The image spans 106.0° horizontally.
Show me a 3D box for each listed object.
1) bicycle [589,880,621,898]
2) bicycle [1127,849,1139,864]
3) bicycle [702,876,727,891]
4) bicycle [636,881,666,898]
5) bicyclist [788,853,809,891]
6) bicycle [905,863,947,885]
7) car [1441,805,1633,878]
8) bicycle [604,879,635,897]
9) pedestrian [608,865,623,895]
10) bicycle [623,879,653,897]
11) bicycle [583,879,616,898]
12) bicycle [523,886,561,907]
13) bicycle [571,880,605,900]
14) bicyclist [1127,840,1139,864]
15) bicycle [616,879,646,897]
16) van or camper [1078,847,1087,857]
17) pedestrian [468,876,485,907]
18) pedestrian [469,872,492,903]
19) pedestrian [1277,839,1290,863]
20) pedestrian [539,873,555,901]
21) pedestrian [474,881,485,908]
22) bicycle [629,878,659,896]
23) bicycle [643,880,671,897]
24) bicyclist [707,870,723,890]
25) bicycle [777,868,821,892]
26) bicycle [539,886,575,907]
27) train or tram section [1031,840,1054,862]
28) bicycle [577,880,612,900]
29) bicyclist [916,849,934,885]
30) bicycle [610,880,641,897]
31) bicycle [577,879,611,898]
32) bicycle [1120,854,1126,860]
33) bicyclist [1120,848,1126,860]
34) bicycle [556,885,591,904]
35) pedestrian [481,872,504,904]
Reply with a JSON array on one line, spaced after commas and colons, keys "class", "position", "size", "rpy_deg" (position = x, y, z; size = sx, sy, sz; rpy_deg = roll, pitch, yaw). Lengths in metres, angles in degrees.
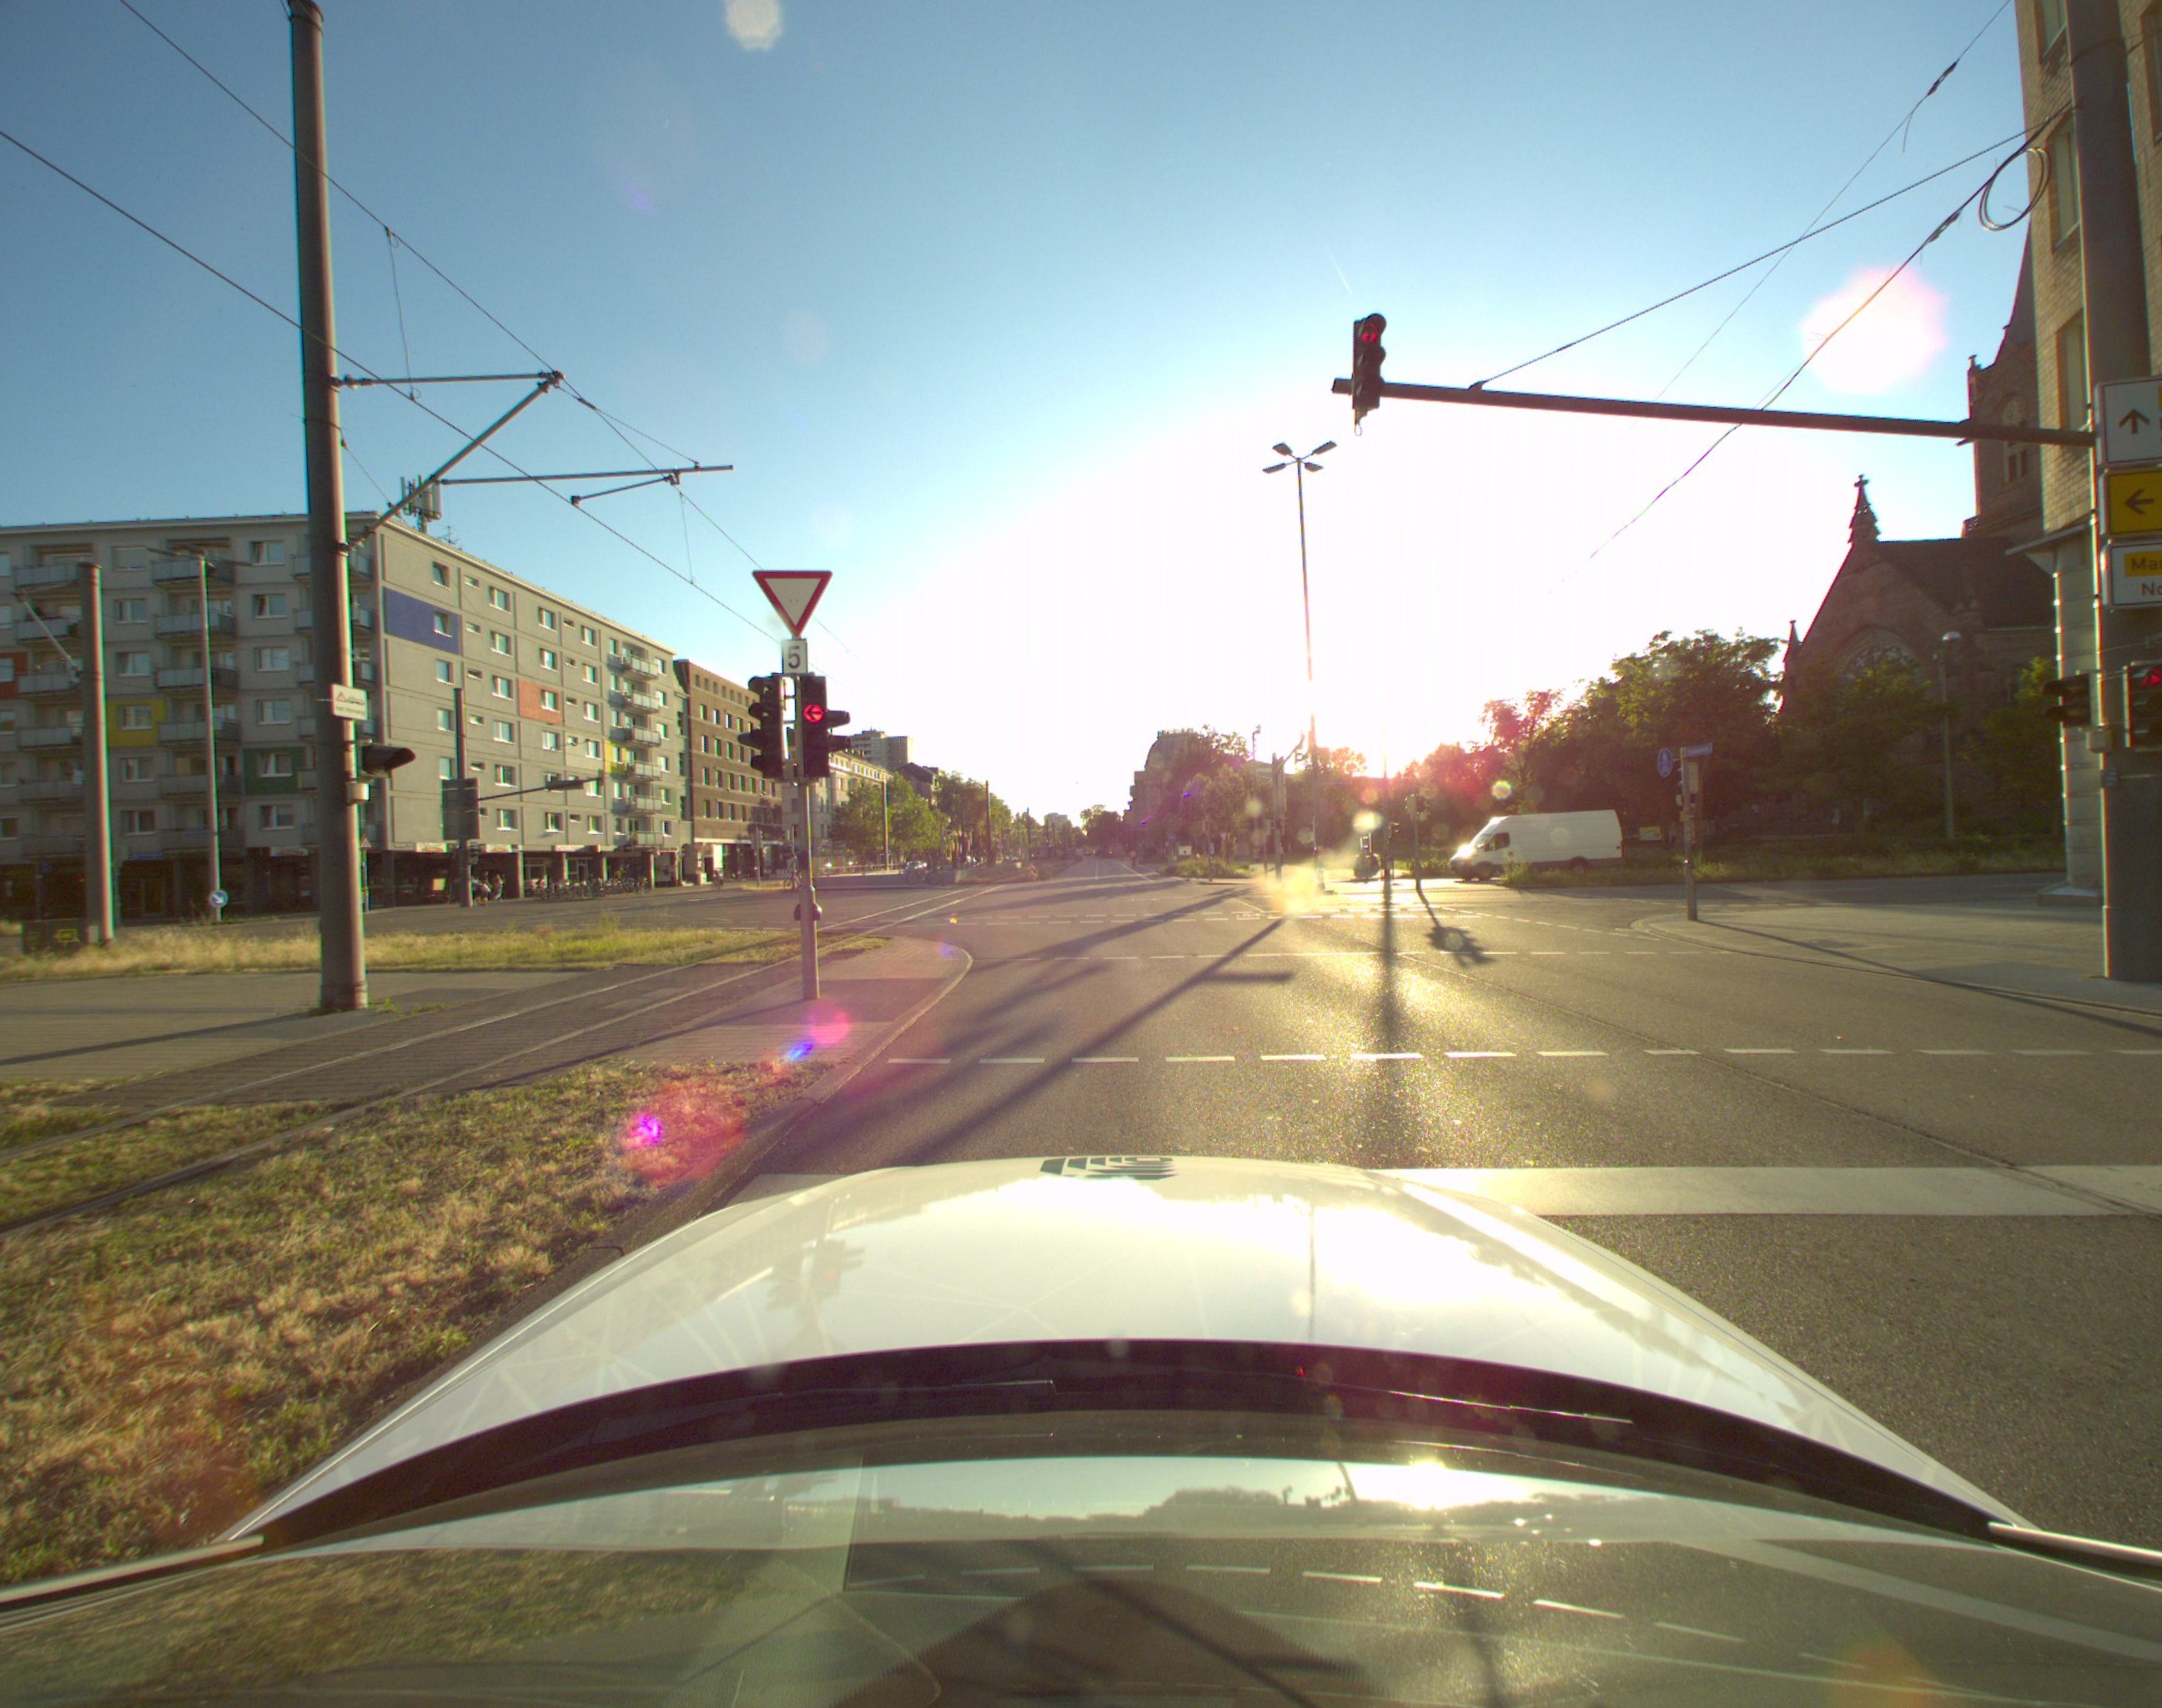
[{"class": "bicycle", "position": [-31.806, 2.323, 54.422], "size": [1.764, 1.136, 0.606], "rpy_deg": [-2, 0, 2]}, {"class": "bicycle", "position": [5.025, 0.233, 78.811], "size": [1.094, 1.399, 2.833], "rpy_deg": [-2, 0, 2]}, {"class": "bicycle", "position": [-26.426, 2.135, 58.746], "size": [0.503, 0.944, 1.678], "rpy_deg": [-2, 0, 28]}, {"class": "bicycle", "position": [-30.849, 2.540, 58.415], "size": [1.683, 1.170, 0.749], "rpy_deg": [-2, 0, 3]}, {"class": "bicyclist", "position": [-13.850, 0.886, 39.947], "size": [0.793, 1.818, 0.644], "rpy_deg": [-2, 0, -11]}, {"class": "bicycle", "position": [-8.178, 1.054, 42.952], "size": [2.167, 1.083, 0.536], "rpy_deg": [-1, -1, -15]}, {"class": "car", "position": [19.562, -0.528, 35.200], "size": [6.981, 2.827, 2.095], "rpy_deg": [-2, 0, 3]}, {"class": "bicycle", "position": [-31.134, 2.312, 54.979], "size": [1.748, 1.117, 0.552], "rpy_deg": [-2, 0, 2]}, {"class": "pedestrian", "position": [-34.711, 1.930, 60.695], "size": [0.599, 2.178, 0.792], "rpy_deg": [-2, 0, 1]}, {"class": "bicycle", "position": [-30.971, 2.373, 56.885], "size": [1.683, 1.153, 0.706], "rpy_deg": [-2, 0, 3]}, {"class": "bicycle", "position": [-31.791, 2.267, 53.753], "size": [1.769, 1.159, 0.606], "rpy_deg": [-2, 0, 1]}, {"class": "bicycle", "position": [-32.285, 2.543, 48.805], "size": [1.788, 1.208, 0.638], "rpy_deg": [-2, 0, 0]}, {"class": "bicycle", "position": [-31.257, 2.295, 51.661], "size": [1.762, 1.182, 0.568], "rpy_deg": [-2, 0, 1]}, {"class": "bicyclist", "position": [5.009, -0.195, 78.743], "size": [1.078, 2.276, 0.986], "rpy_deg": [-2, 0, 1]}, {"class": "bicycle", "position": [-31.038, 2.335, 56.198], "size": [1.719, 1.124, 0.634], "rpy_deg": [-2, -1, 3]}, {"class": "van or camper", "position": [0.403, -0.477, 231.874], "size": [2.441, 2.770, 5.600], "rpy_deg": [-2, 0, 0]}, {"class": "pedestrian", "position": [-32.412, 2.014, 43.669], "size": [0.575, 1.620, 0.598], "rpy_deg": [-2, 0, -29]}, {"class": "pedestrian", "position": [-36.044, 2.003, 48.914], "size": [0.826, 1.812, 0.718], "rpy_deg": [-2, 0, -9]}, {"class": "pedestrian", "position": [15.294, -0.221, 61.554], "size": [0.826, 1.803, 0.814], "rpy_deg": [-2, 0, 17]}, {"class": "pedestrian", "position": [-33.188, 2.035, 50.597], "size": [0.578, 1.684, 0.546], "rpy_deg": [-2, 0, -5]}, {"class": "pedestrian", "position": [-32.638, 2.193, 44.183], "size": [0.383, 1.383, 0.392], "rpy_deg": [-2, 0, -26]}, {"class": "bicycle", "position": [-30.921, 2.361, 57.642], "size": [1.683, 1.179, 0.749], "rpy_deg": [-2, 0, 3]}, {"class": "bicycle", "position": [-30.787, 2.496, 59.146], "size": [1.683, 1.144, 0.697], "rpy_deg": [-2, 0, 3]}, {"class": "bicyclist", "position": [-26.422, 1.858, 58.775], "size": [0.494, 1.426, 0.863], "rpy_deg": [-2, 0, 28]}, {"class": "bicycle", "position": [-13.820, 1.278, 39.960], "size": [1.902, 1.075, 0.630], "rpy_deg": [-2, 0, -11]}, {"class": "bicycle", "position": [-32.066, 2.597, 49.879], "size": [1.770, 1.142, 0.608], "rpy_deg": [-2, 0, 1]}, {"class": "train or tram section", "position": [-7.633, -0.701, 163.873], "size": [4.375, 3.849, 11.402], "rpy_deg": [-2, 2, -2]}, {"class": "bicycle", "position": [-31.241, 2.282, 52.306], "size": [1.782, 1.191, 0.652], "rpy_deg": [-2, 0, 1]}, {"class": "bicyclist", "position": [-8.235, 0.677, 42.933], "size": [0.877, 1.818, 0.535], "rpy_deg": [-2, 0, -14]}, {"class": "bicycle", "position": [-31.100, 2.349, 55.564], "size": [1.754, 1.119, 0.568], "rpy_deg": [-2, 0, 2]}, {"class": "bicycle", "position": [-31.753, 2.270, 53.111], "size": [1.824, 1.160, 0.640], "rpy_deg": [-2, 0, 1]}, {"class": "bicycle", "position": [7.130, 0.525, 138.624], "size": [0.921, 1.111, 2.334], "rpy_deg": [-2, 0, 2]}, {"class": "bicyclist", "position": [7.101, 0.070, 138.565], "size": [0.922, 2.013, 0.851], "rpy_deg": [-2, 0, 1]}, {"class": "bicycle", "position": [-31.460, 2.506, 50.486], "size": [1.750, 1.139, 0.600], "rpy_deg": [-2, 0, 2]}, {"class": "pedestrian", "position": [-35.118, 2.039, 48.608], "size": [0.785, 1.841, 0.733], "rpy_deg": [-2, 0, -7]}]
